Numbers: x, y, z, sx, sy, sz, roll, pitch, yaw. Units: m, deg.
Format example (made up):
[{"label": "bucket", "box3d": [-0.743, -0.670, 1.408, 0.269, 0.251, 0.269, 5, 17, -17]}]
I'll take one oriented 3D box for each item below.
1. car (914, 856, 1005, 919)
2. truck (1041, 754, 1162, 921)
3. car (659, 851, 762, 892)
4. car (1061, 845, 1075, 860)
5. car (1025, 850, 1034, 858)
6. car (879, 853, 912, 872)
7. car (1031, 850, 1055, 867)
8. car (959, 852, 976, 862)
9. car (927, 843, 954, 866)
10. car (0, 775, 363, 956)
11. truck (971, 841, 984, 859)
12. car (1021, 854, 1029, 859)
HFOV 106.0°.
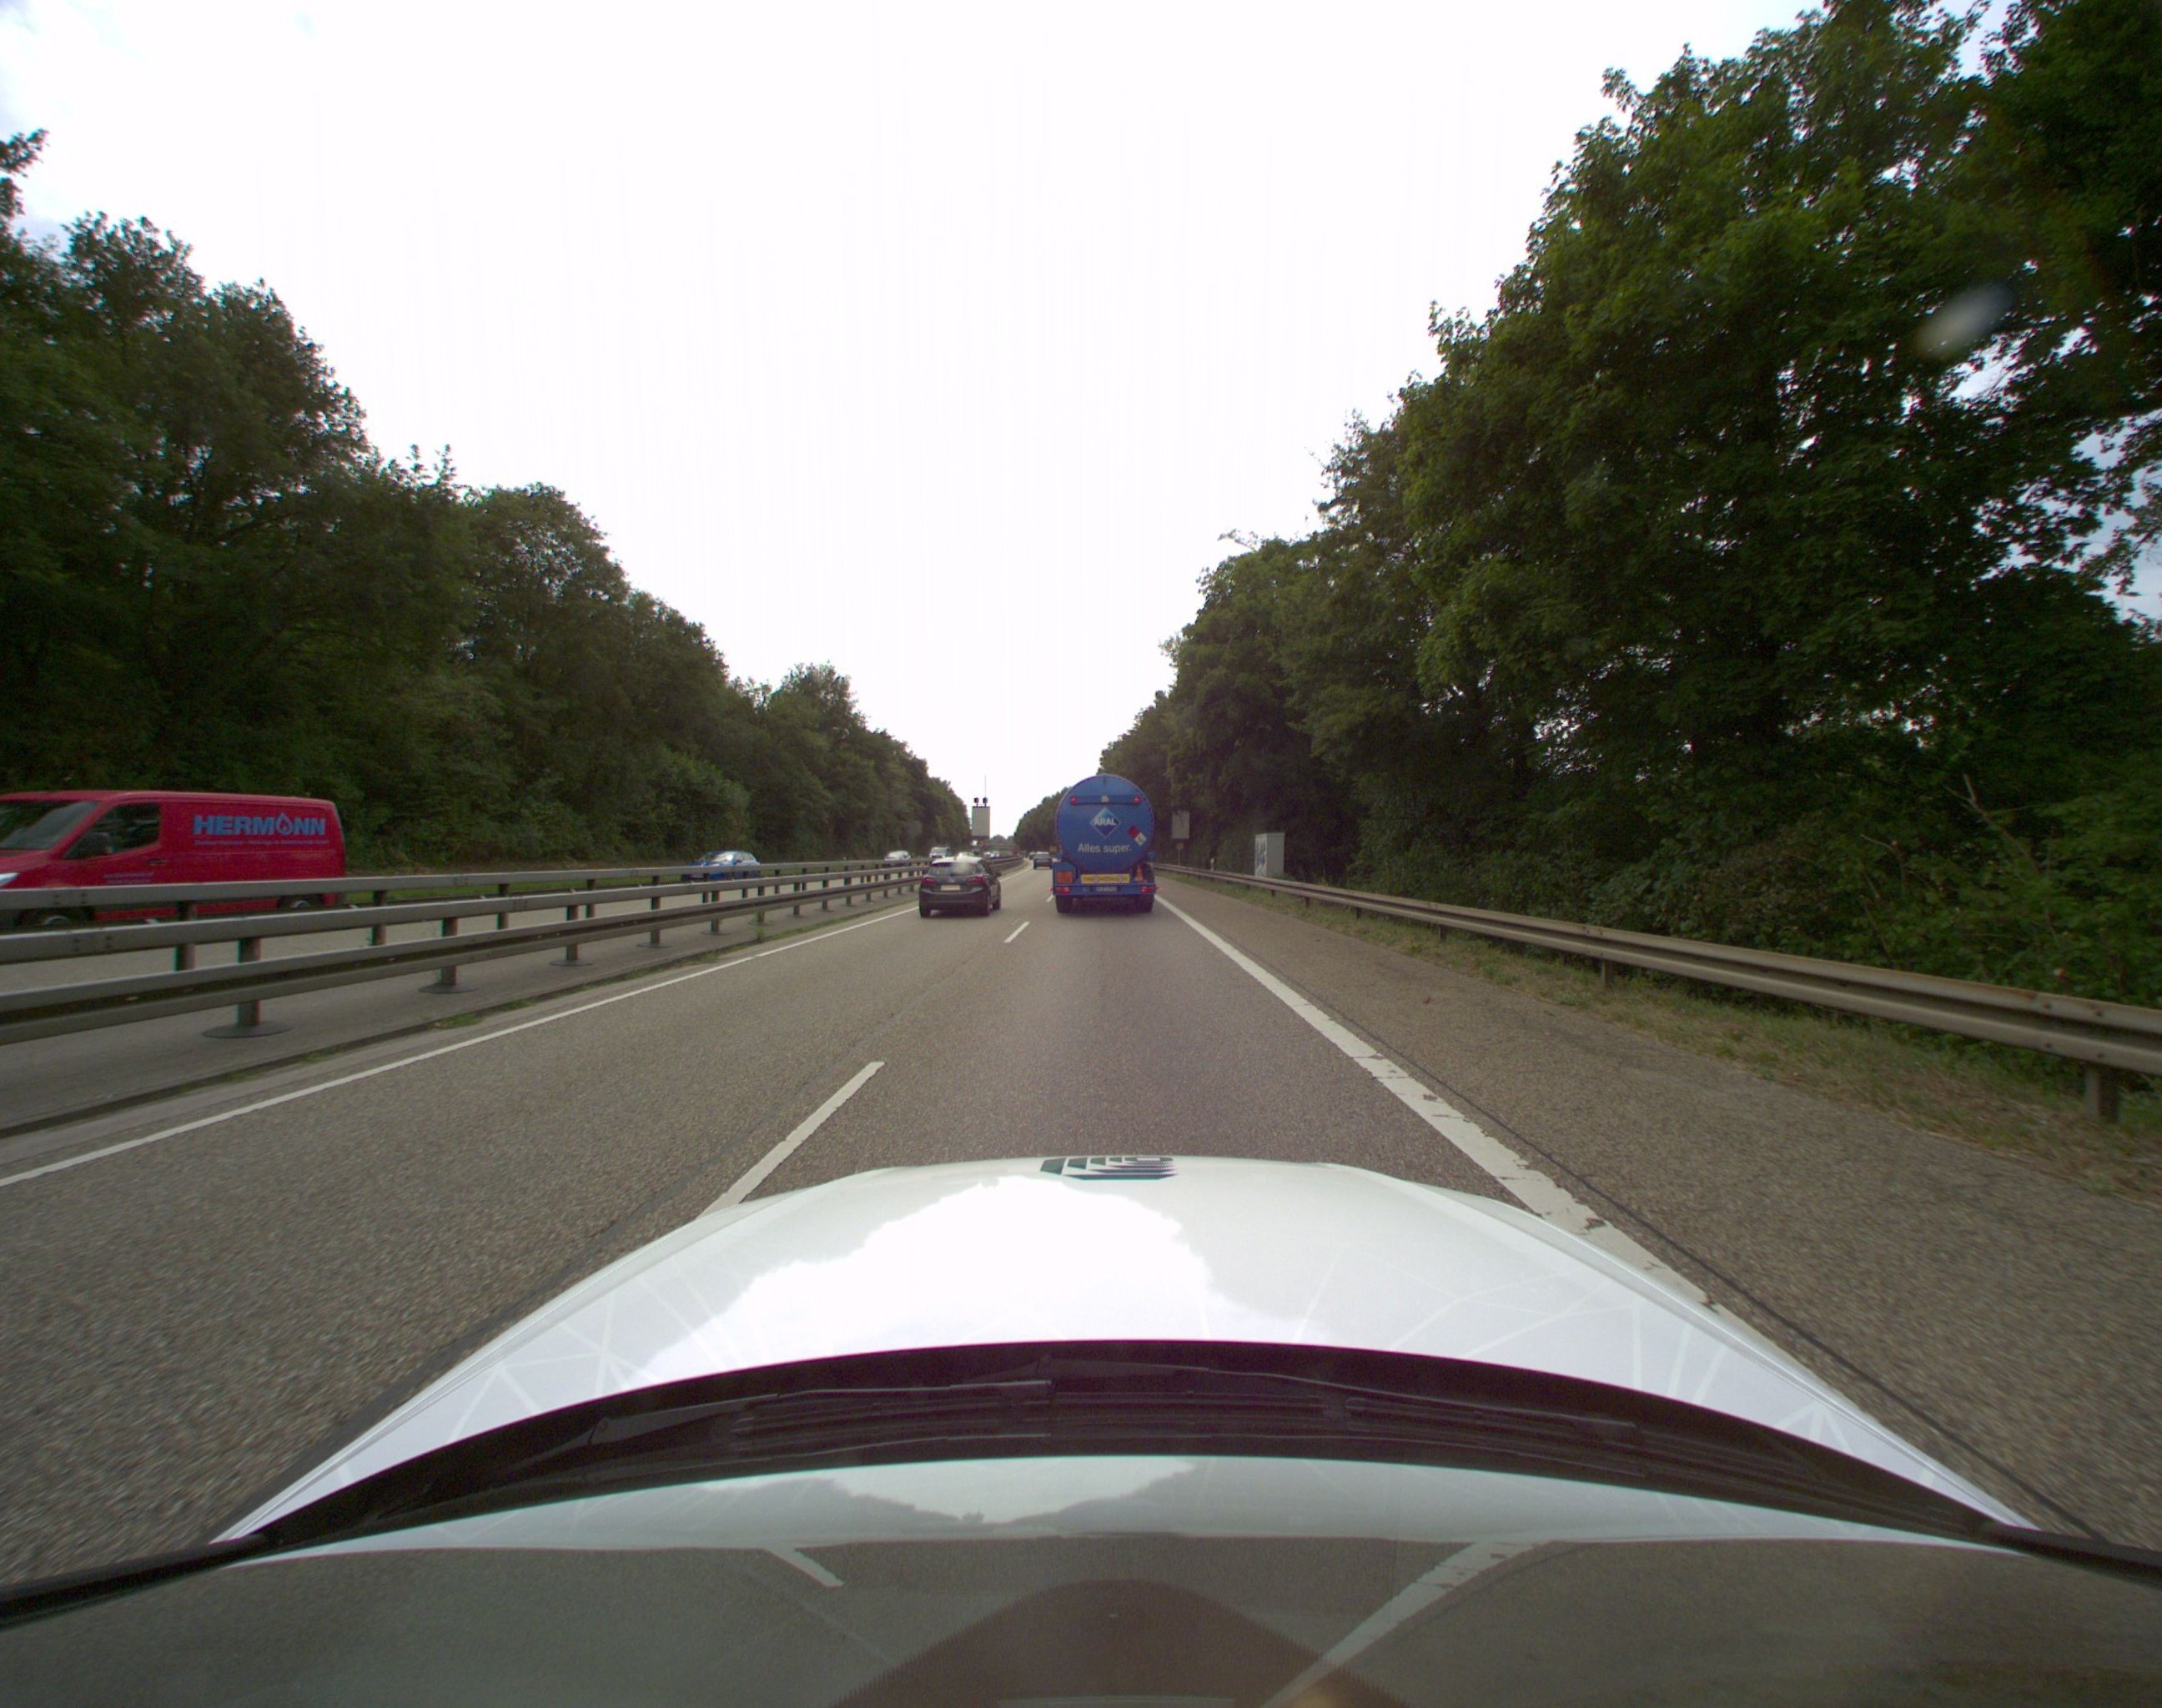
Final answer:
[{"label": "car", "box3d": [-3.079, 0.792, 21.467, 1.821, 1.458, 4.636, -1, 0, -2]}, {"label": "truck", "box3d": [0.494, -0.404, 22.901, 2.746, 3.846, 7.687, -1, 0, 0]}, {"label": "car", "box3d": [-14.743, 0.662, 32.745, 1.986, 1.509, 4.506, -1, 0, 1]}, {"label": "car", "box3d": [-2.033, -0.225, 124.924, 1.989, 2.244, 3.996, -1, 0, -3]}, {"label": "car", "box3d": [-10.568, 0.066, 167.585, 1.951, 1.567, 3.995, -1, 0, -4]}, {"label": "car", "box3d": [-15.180, 0.652, 66.806, 1.688, 1.466, 4.090, -1, 0, 1]}, {"label": "car", "box3d": [-3.599, 0.436, 78.315, 1.818, 1.609, 4.172, -1, 0, 4]}, {"label": "car", "box3d": [-16.881, 0.480, 121.091, 1.988, 1.481, 4.129, -1, 0, -1]}, {"label": "car", "box3d": [-15.069, 0.076, 87.748, 1.929, 2.321, 5.303, -1, 0, 0]}, {"label": "car", "box3d": [-14.477, 0.163, 12.502, 2.059, 2.256, 5.375, -1, 0, 1]}, {"label": "truck", "box3d": [-24.586, -0.938, 193.562, 2.687, 4.063, 5.316, -1, 0, -4]}, {"label": "car", "box3d": [-15.280, 0.686, 222.734, 1.990, 1.552, 3.994, -1, 0, -4]}]
